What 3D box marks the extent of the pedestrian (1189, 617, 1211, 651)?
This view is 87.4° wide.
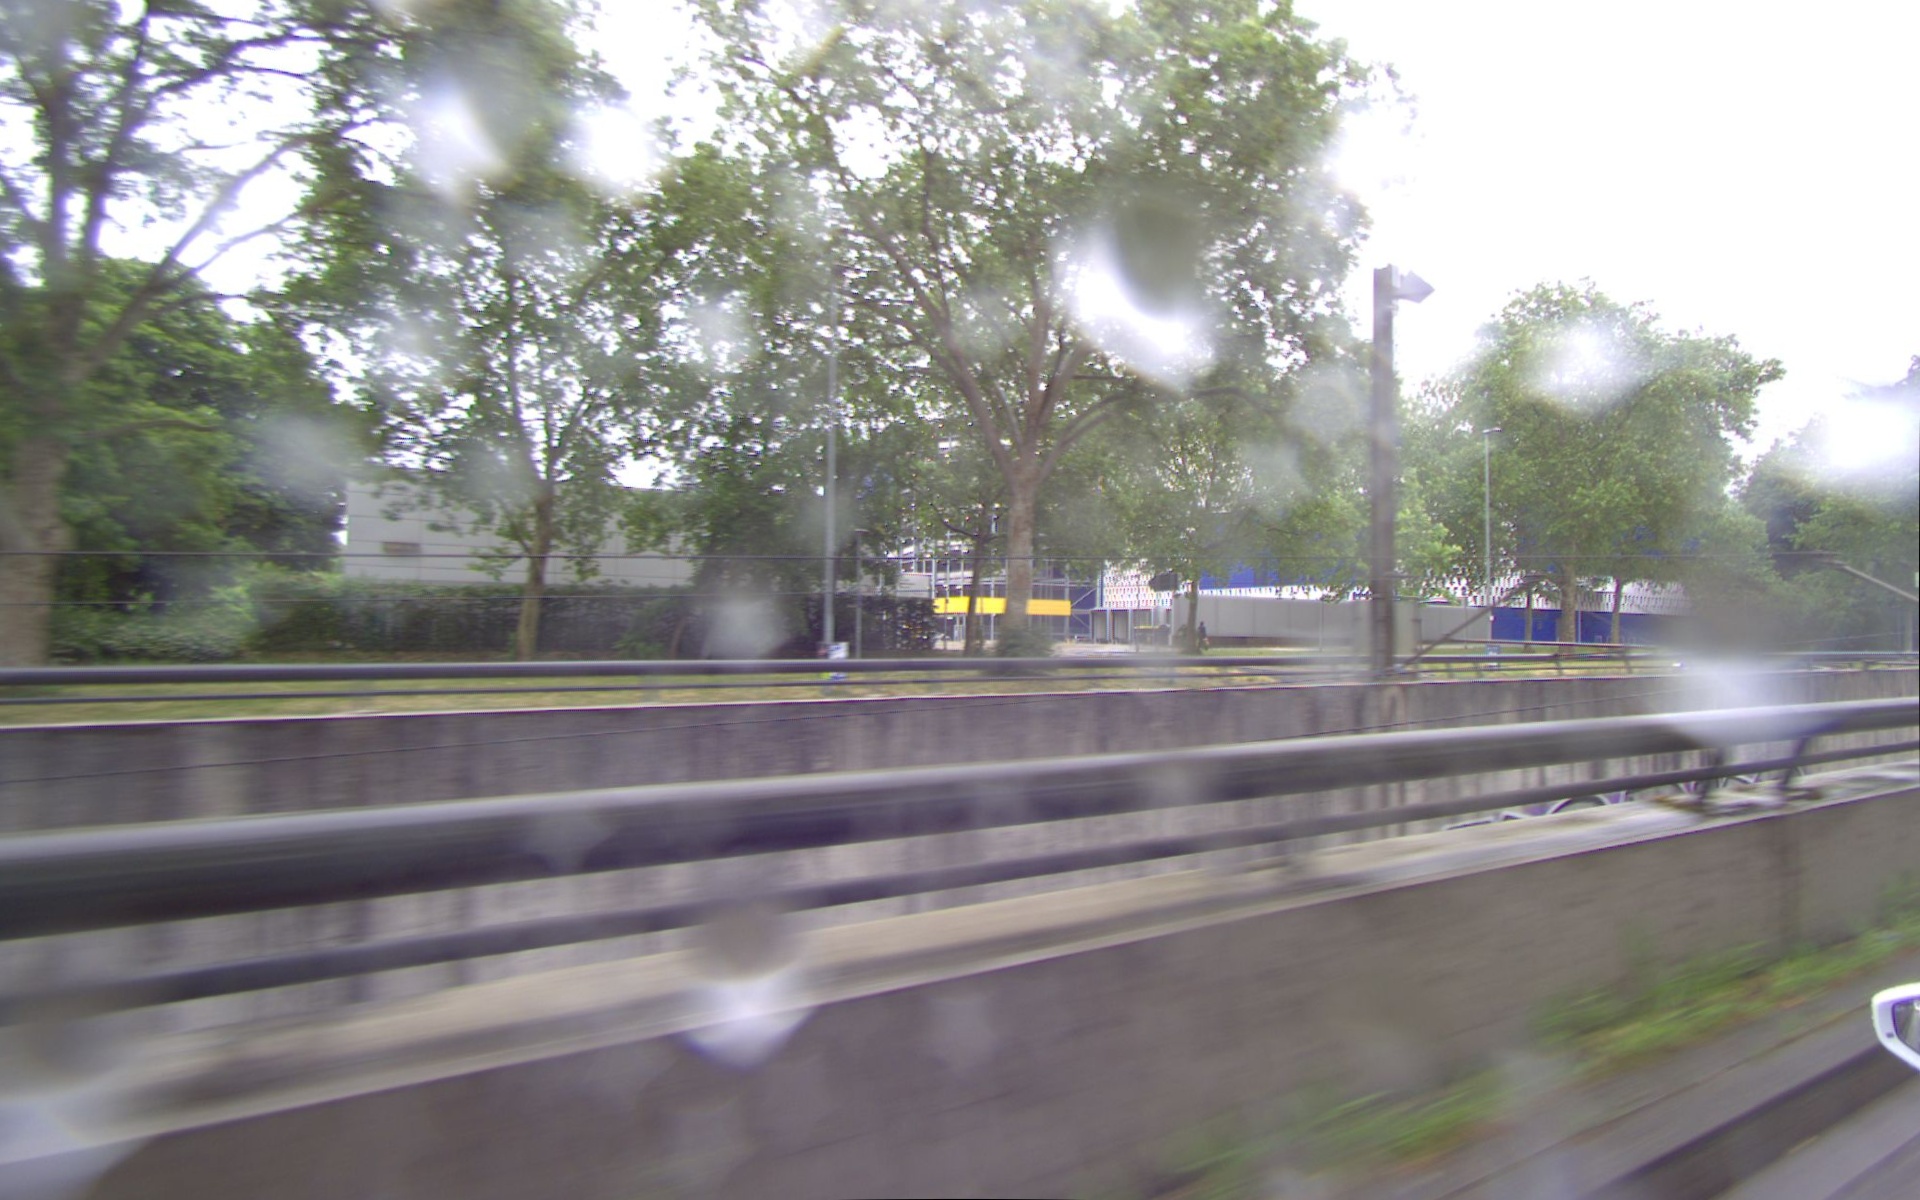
[{"bbox_3d":[14.549,2.049,60.970,0.780,2.040,0.997,1,0,-28],"label":"pedestrian"}]

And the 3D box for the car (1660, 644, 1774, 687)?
[{"bbox_3d":[27.632,2.357,36.656,3.747,1.422,1.985,1,-1,-29],"label":"car"}]
